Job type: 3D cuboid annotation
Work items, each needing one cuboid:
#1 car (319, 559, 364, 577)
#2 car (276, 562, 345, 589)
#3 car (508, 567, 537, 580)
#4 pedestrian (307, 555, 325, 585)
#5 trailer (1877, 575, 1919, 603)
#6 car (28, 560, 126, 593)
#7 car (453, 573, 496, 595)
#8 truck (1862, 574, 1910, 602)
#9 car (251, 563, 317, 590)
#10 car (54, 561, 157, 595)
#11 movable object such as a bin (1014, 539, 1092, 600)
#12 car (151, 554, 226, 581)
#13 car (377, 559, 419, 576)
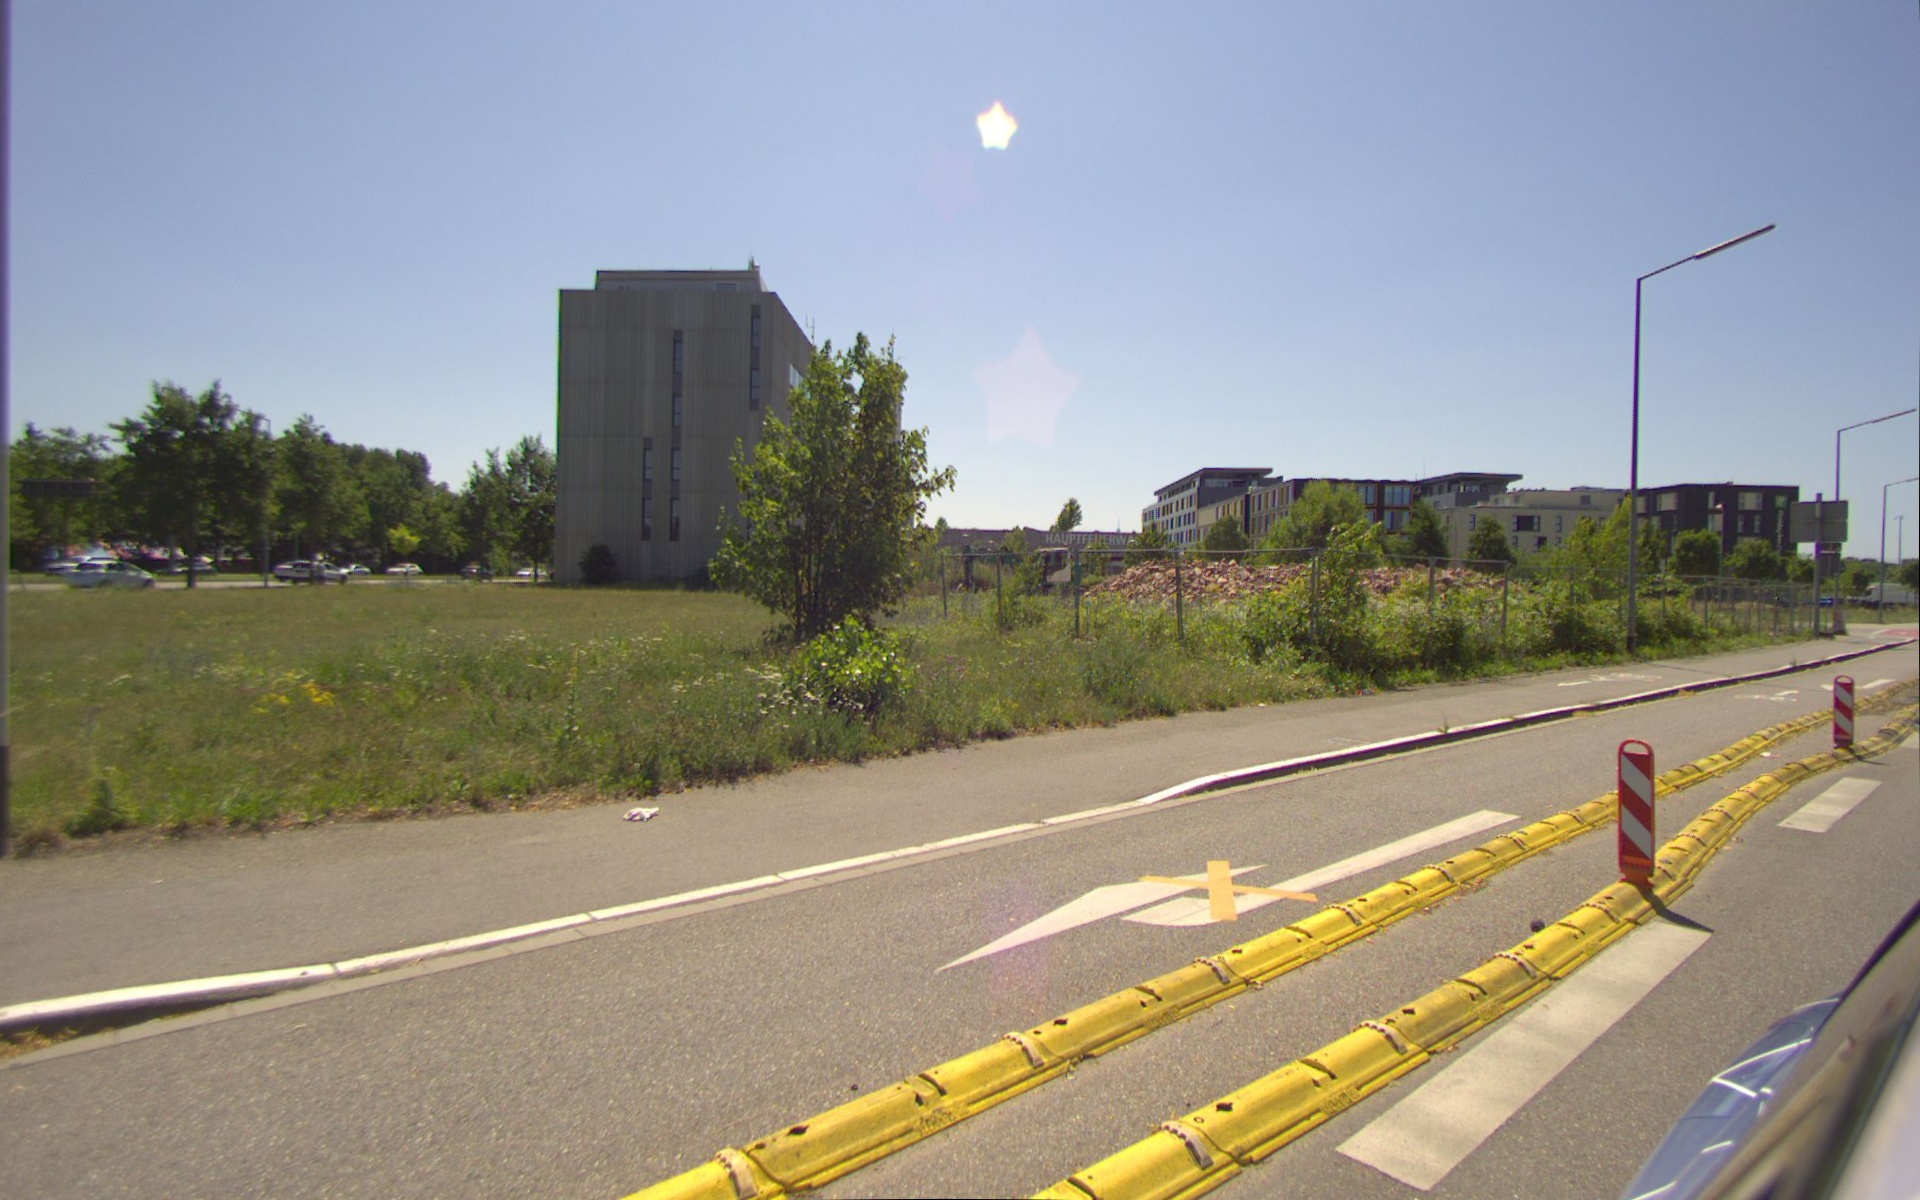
[{"bbox_3d":[-61.736,-3.209,101.084,1.964,1.738,3.996,0,1,4],"label":"car"},{"bbox_3d":[-44.395,-1.658,69.286,1.962,1.838,4.264,0,1,0],"label":"car"},{"bbox_3d":[-57.819,-3.447,133.891,1.964,1.638,3.996,0,1,4],"label":"car"},{"bbox_3d":[-33.878,-1.585,53.258,0.489,1.583,0.737,0,0,-1],"label":"pedestrian"},{"bbox_3d":[119.721,-1.375,126.394,8.030,3.390,1.998,1,1,4],"label":"trailer"},{"bbox_3d":[-58.330,-1.537,67.009,1.963,2.039,5.083,0,1,2],"label":"car"},{"bbox_3d":[-46.203,-1.502,96.432,1.964,2.039,3.996,0,1,4],"label":"car"},{"bbox_3d":[115.926,-1.494,126.693,3.928,3.377,1.998,1,1,4],"label":"truck"},{"bbox_3d":[-48.677,-1.668,72.987,1.962,1.838,4.264,0,1,0],"label":"car"},{"bbox_3d":[-42.652,-1.099,50.632,1.650,1.640,4.008,0,1,4],"label":"car"},{"bbox_3d":[4.976,-1.599,53.970,3.619,3.101,2.207,0,1,-35],"label":"movable object such as a bin"},{"bbox_3d":[-61.304,-2.540,80.495,1.963,2.039,5.083,0,1,2],"label":"car"},{"bbox_3d":[-58.491,-3.386,105.336,1.964,1.738,3.996,0,1,4],"label":"car"}]
